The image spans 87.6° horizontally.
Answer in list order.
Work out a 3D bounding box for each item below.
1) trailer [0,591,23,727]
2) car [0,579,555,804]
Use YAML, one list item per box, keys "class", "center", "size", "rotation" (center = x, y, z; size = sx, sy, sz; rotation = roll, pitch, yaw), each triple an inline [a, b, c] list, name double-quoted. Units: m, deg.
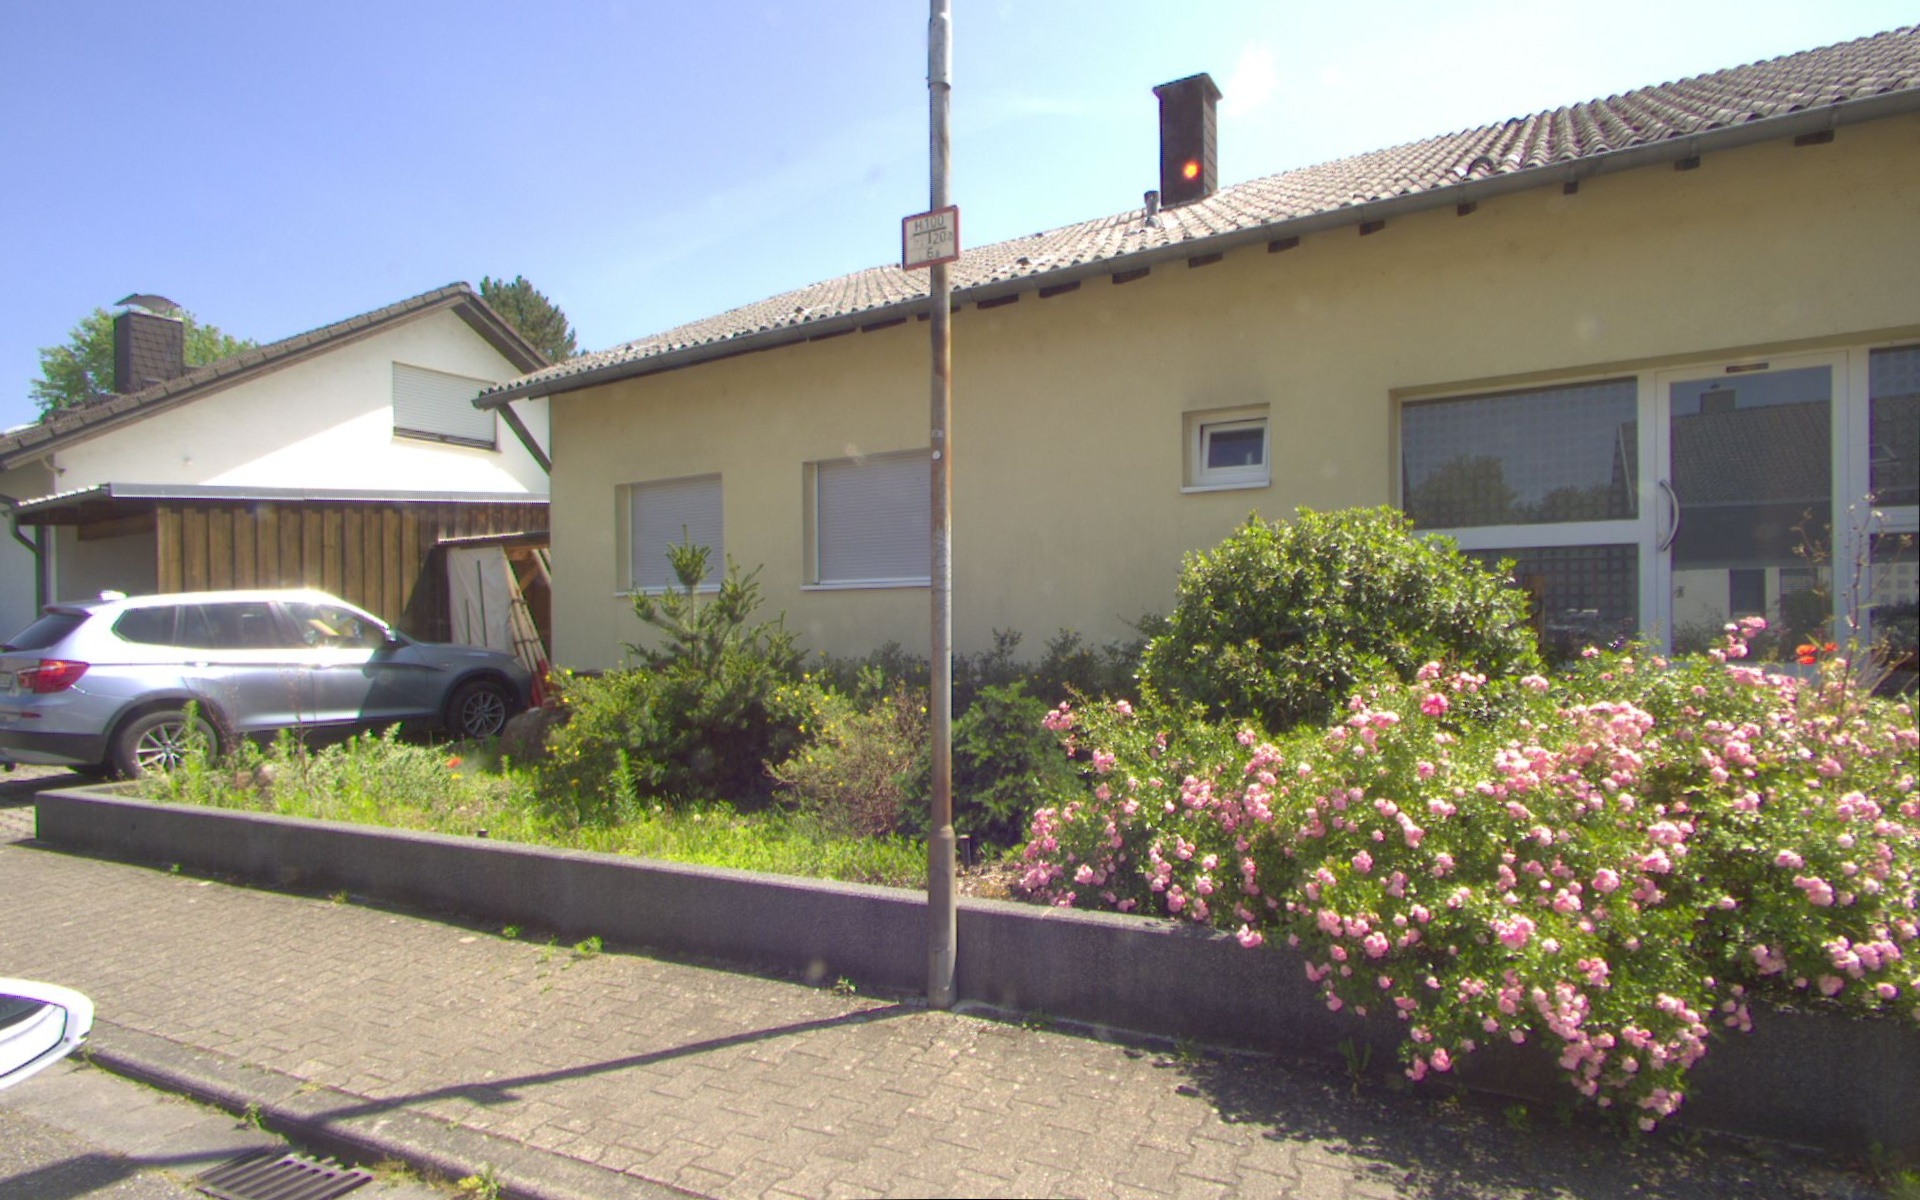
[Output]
- class: "trailer"
  center: [-13.679, 0.749, 12.879]
  size: [3.249, 1.695, 1.583]
  rotation: [0, 1, 32]
- class: "car"
  center: [-6.650, 0.675, 10.049]
  size: [1.686, 1.725, 4.614]
  rotation: [-1, 1, 34]
